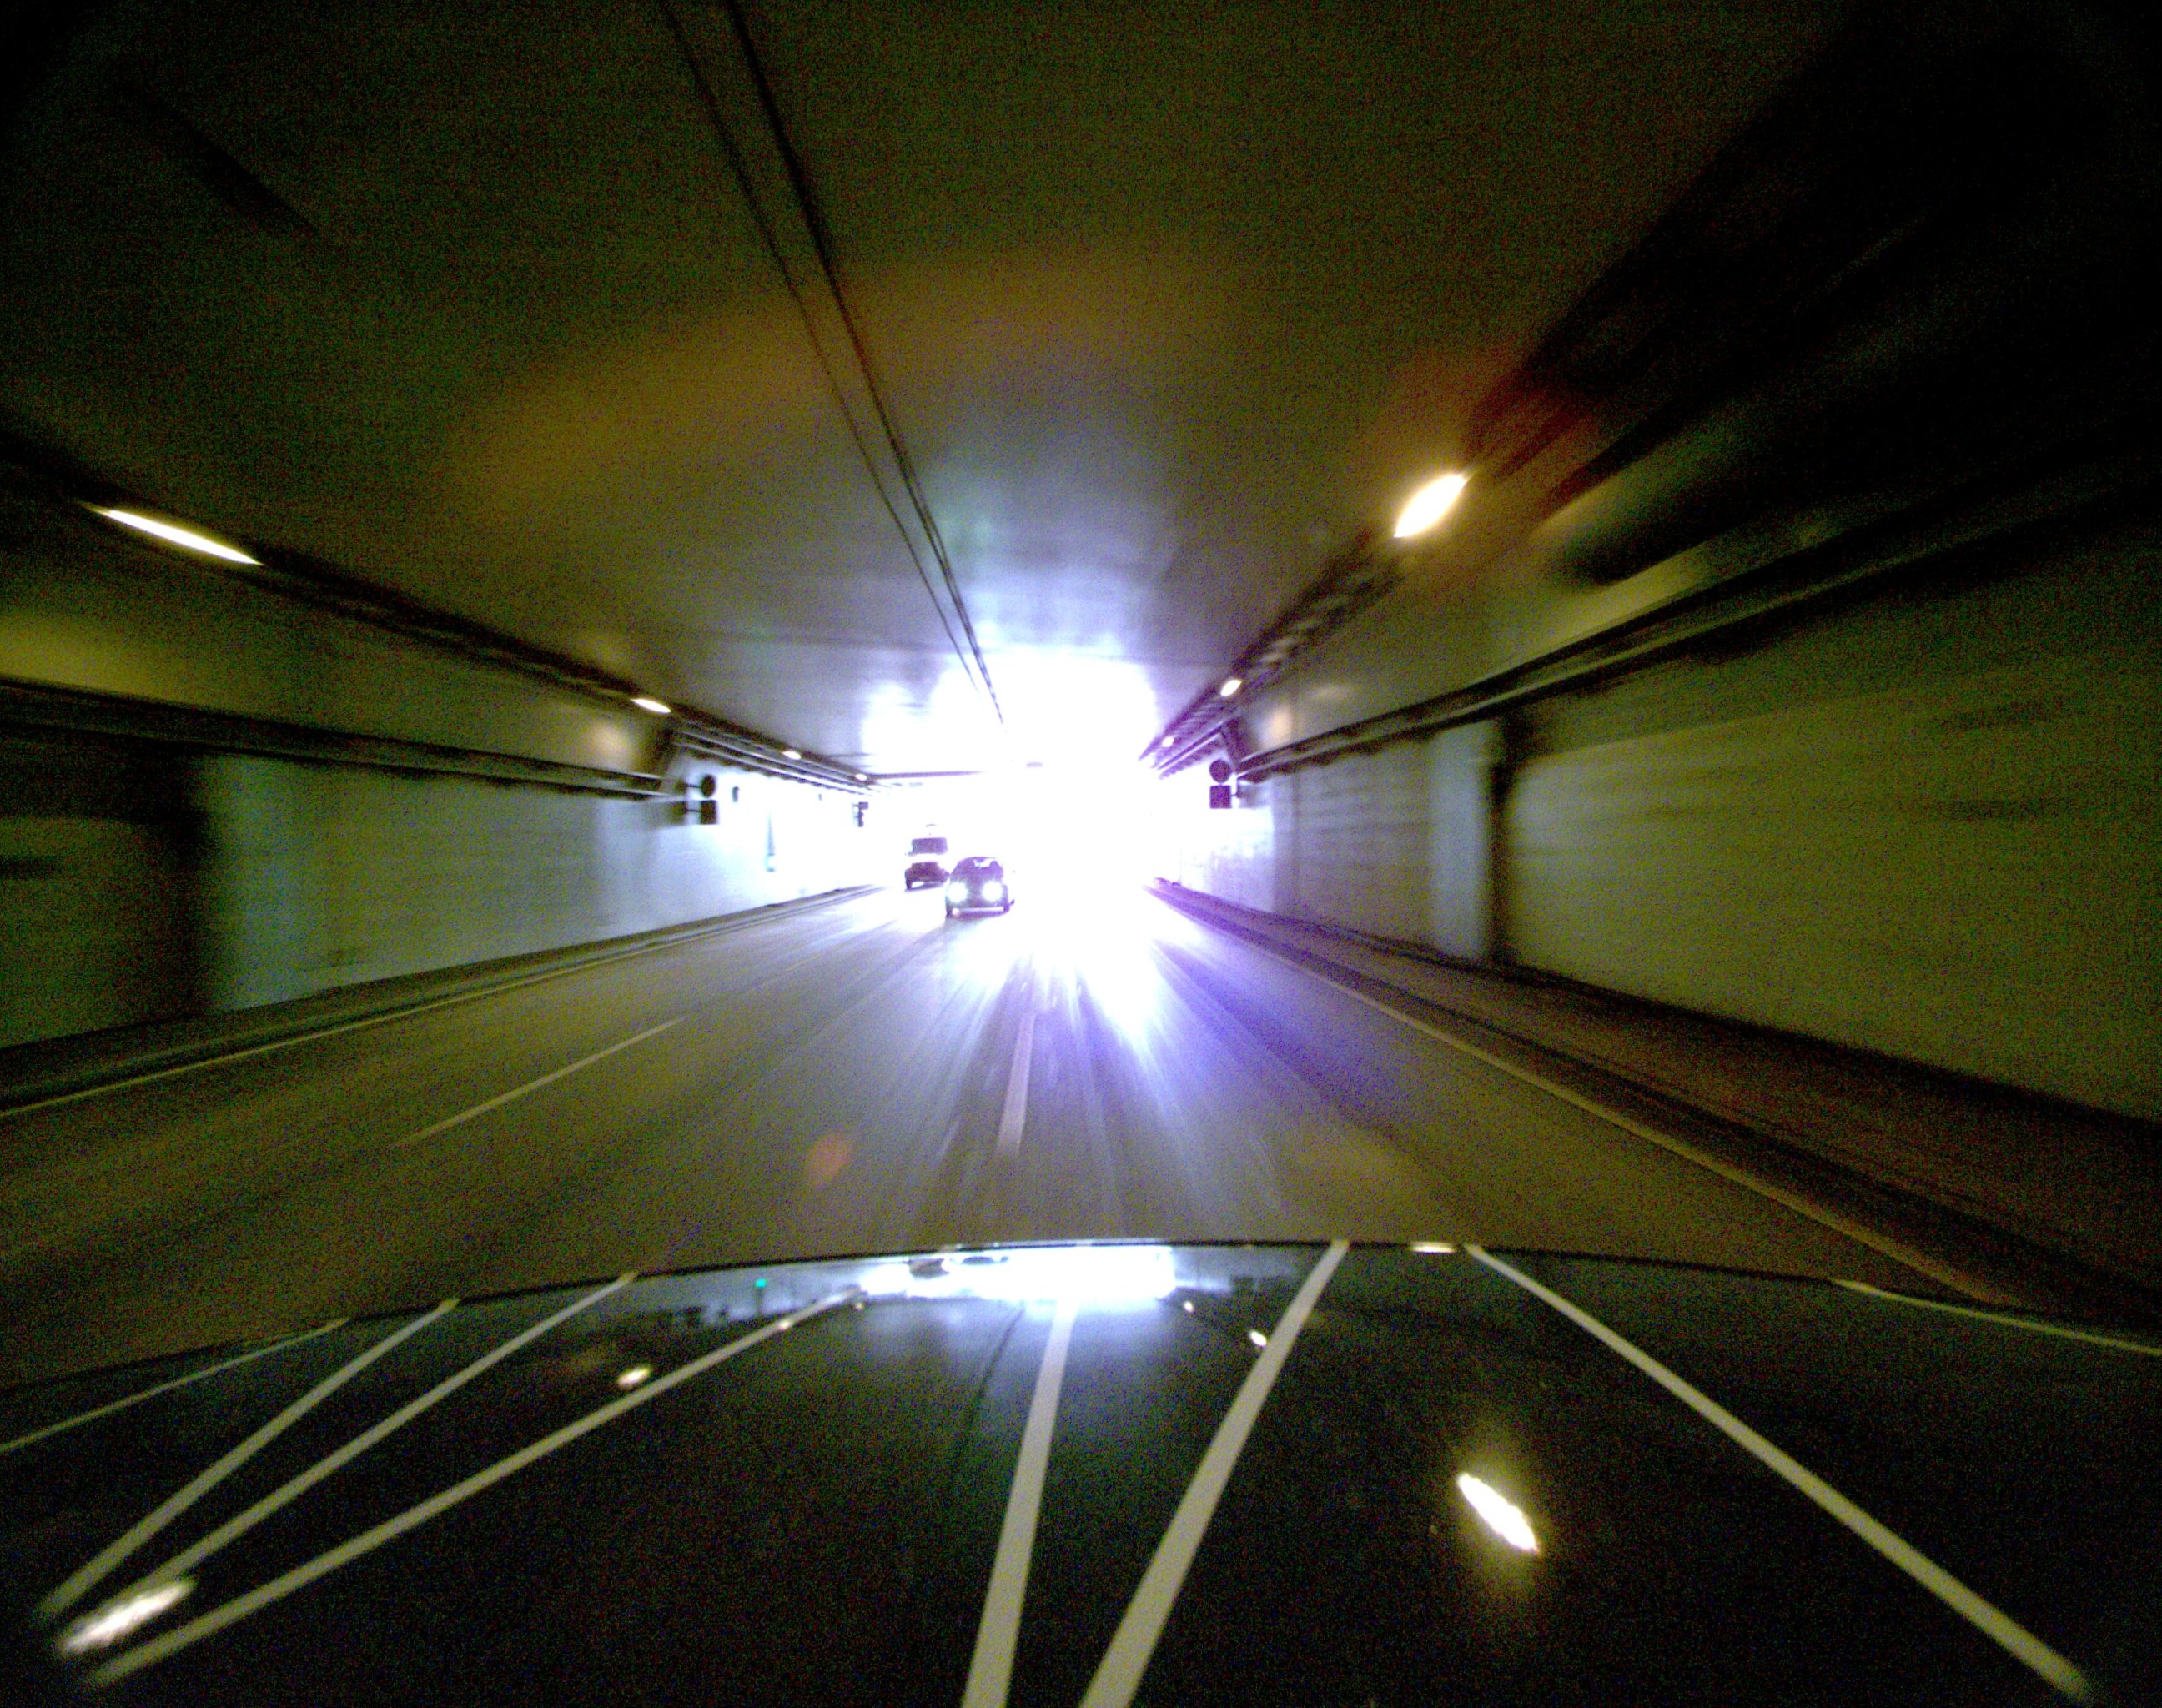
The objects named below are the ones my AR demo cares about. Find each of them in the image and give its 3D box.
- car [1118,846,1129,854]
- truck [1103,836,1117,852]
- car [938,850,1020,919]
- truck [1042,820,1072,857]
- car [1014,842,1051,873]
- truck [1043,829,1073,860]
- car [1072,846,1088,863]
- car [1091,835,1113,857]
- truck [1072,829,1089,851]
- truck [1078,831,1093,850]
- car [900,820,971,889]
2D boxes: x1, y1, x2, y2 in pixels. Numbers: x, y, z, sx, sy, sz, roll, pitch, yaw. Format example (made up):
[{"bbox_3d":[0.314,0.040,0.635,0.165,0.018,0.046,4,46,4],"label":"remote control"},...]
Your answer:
[{"bbox_3d":[8.820,-0.845,159.051,1.950,1.524,4.000,-4,-1,-1],"label":"car"},{"bbox_3d":[5.236,-1.925,137.955,2.138,2.713,5.669,-2,2,0],"label":"truck"},{"bbox_3d":[-2.648,0.748,20.549,1.639,1.552,3.715,-2,2,0],"label":"car"},{"bbox_3d":[-2.958,-2.058,97.394,2.886,4.447,10.451,-2,2,2],"label":"truck"},{"bbox_3d":[-2.716,0.175,43.275,1.764,1.552,3.818,-5,1,-1],"label":"car"},{"bbox_3d":[-1.952,-0.943,67.390,2.073,2.525,6.023,-2,2,3],"label":"truck"},{"bbox_3d":[-0.090,-0.001,84.247,1.639,1.662,3.714,-2,2,0],"label":"car"},{"bbox_3d":[1.950,-0.765,71.679,1.935,1.919,4.195,-2,2,0],"label":"car"},{"bbox_3d":[-0.043,-2.258,123.554,2.494,3.370,6.374,-2,2,0],"label":"truck"},{"bbox_3d":[0.750,-2.406,134.918,2.494,3.121,6.374,-2,2,0],"label":"truck"},{"bbox_3d":[-6.510,-0.031,34.929,2.107,2.831,6.858,-1,1,-2],"label":"car"}]
